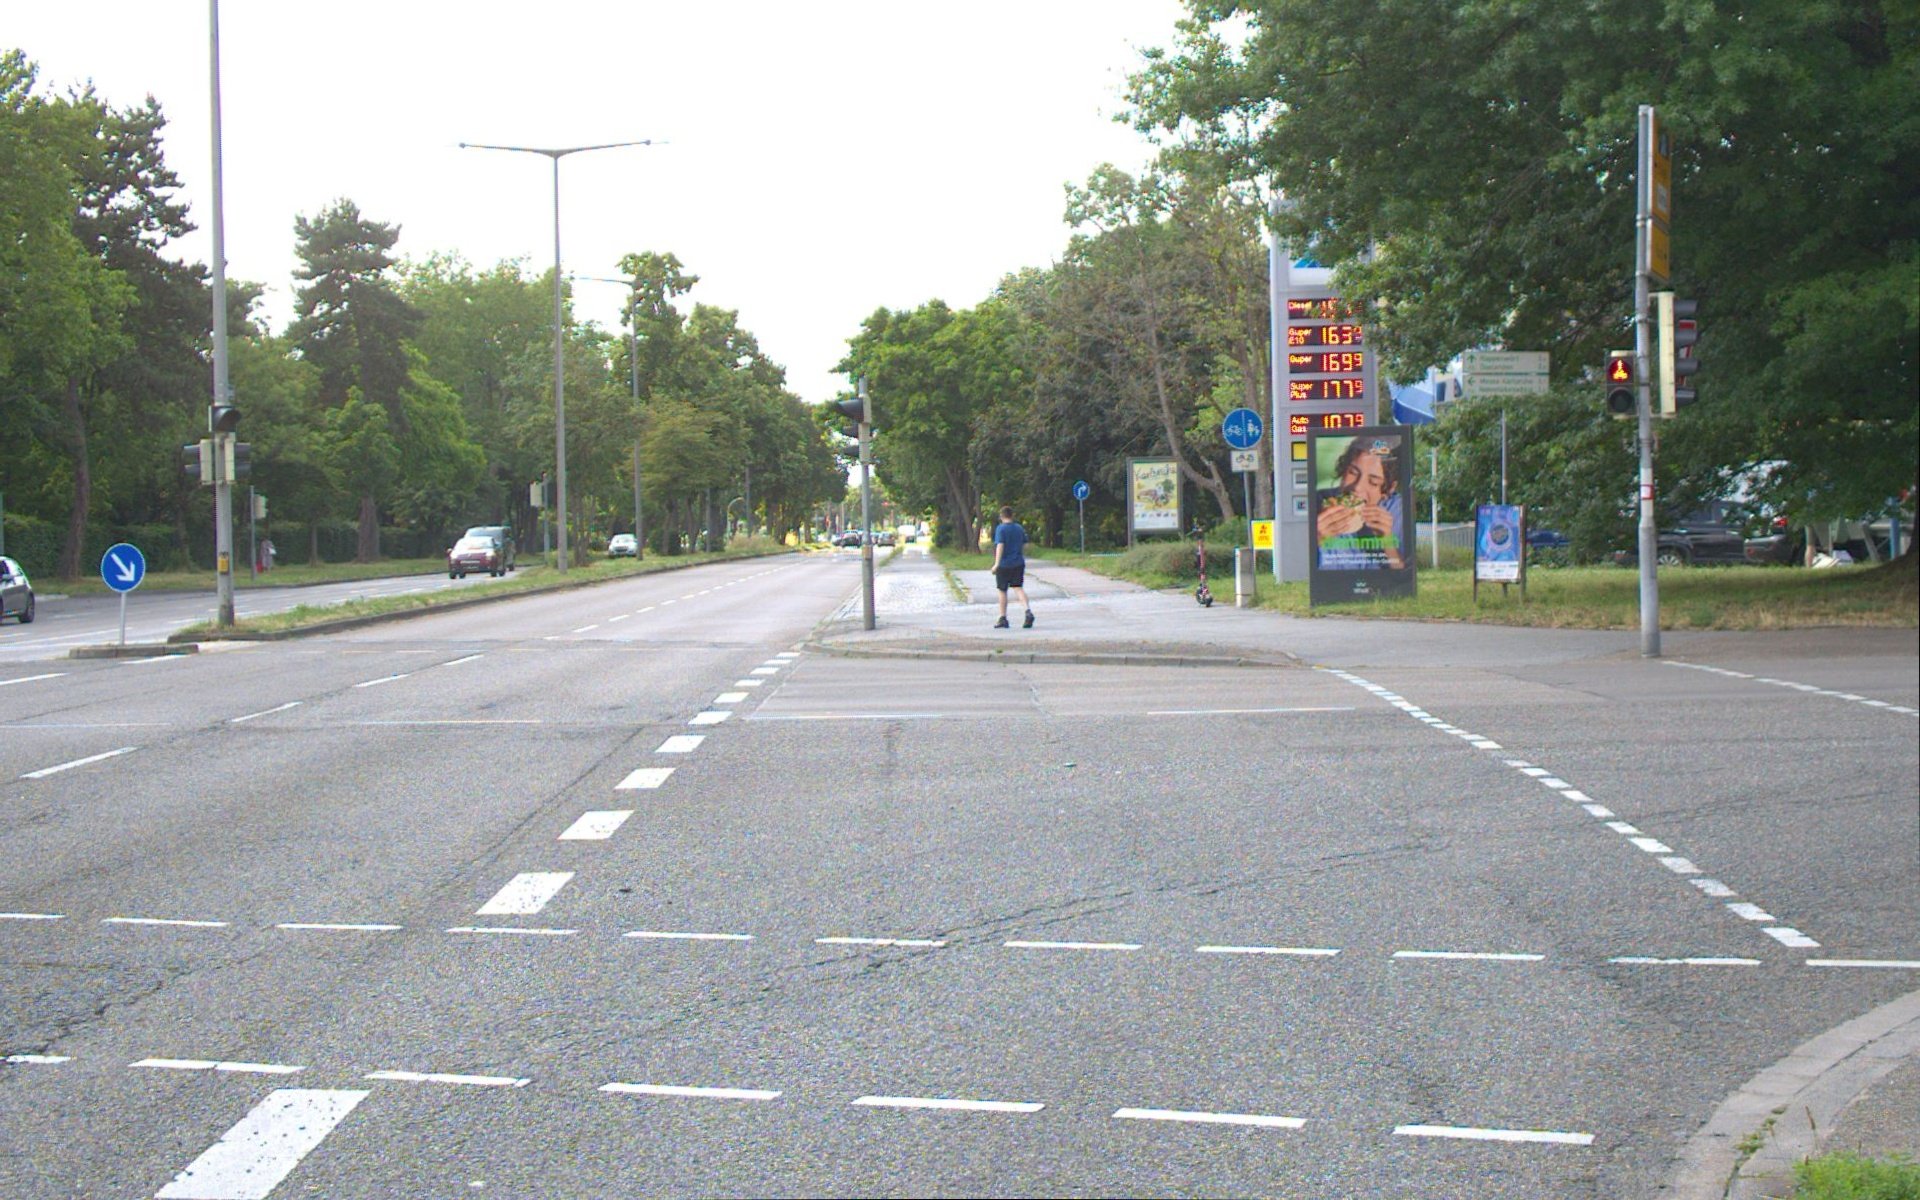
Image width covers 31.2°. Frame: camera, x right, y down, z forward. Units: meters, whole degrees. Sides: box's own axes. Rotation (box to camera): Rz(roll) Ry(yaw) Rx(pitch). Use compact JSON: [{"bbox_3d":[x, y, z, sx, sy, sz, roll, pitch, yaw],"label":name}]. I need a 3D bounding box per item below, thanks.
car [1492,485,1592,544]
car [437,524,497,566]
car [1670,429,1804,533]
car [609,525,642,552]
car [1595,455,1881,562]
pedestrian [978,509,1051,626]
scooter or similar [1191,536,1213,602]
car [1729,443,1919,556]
[{"bbox_3d":[14.846,-2.176,87.853,1.750,1.449,3.741,-1,1,-2],"label":"car"},{"bbox_3d":[-18.036,-2.024,125.935,1.771,1.460,4.456,-1,1,-3],"label":"car"},{"bbox_3d":[19.149,-2.890,84.923,1.750,2.445,5.751,-1,1,-2],"label":"car"},{"bbox_3d":[-22.148,-4.096,227.952,1.860,1.699,4.456,-1,1,-2],"label":"car"},{"bbox_3d":[15.613,-1.832,69.149,5.180,1.997,2.154,-1,1,-4],"label":"car"},{"bbox_3d":[0.718,-0.433,45.498,0.725,1.526,0.760,-2,1,-17],"label":"pedestrian"},{"bbox_3d":[3.650,-0.481,51.910,0.221,0.976,1.272,-1,1,0],"label":"scooter or similar"},{"bbox_3d":[15.909,-1.723,58.216,5.179,1.820,2.154,-2,1,-11],"label":"car"}]
